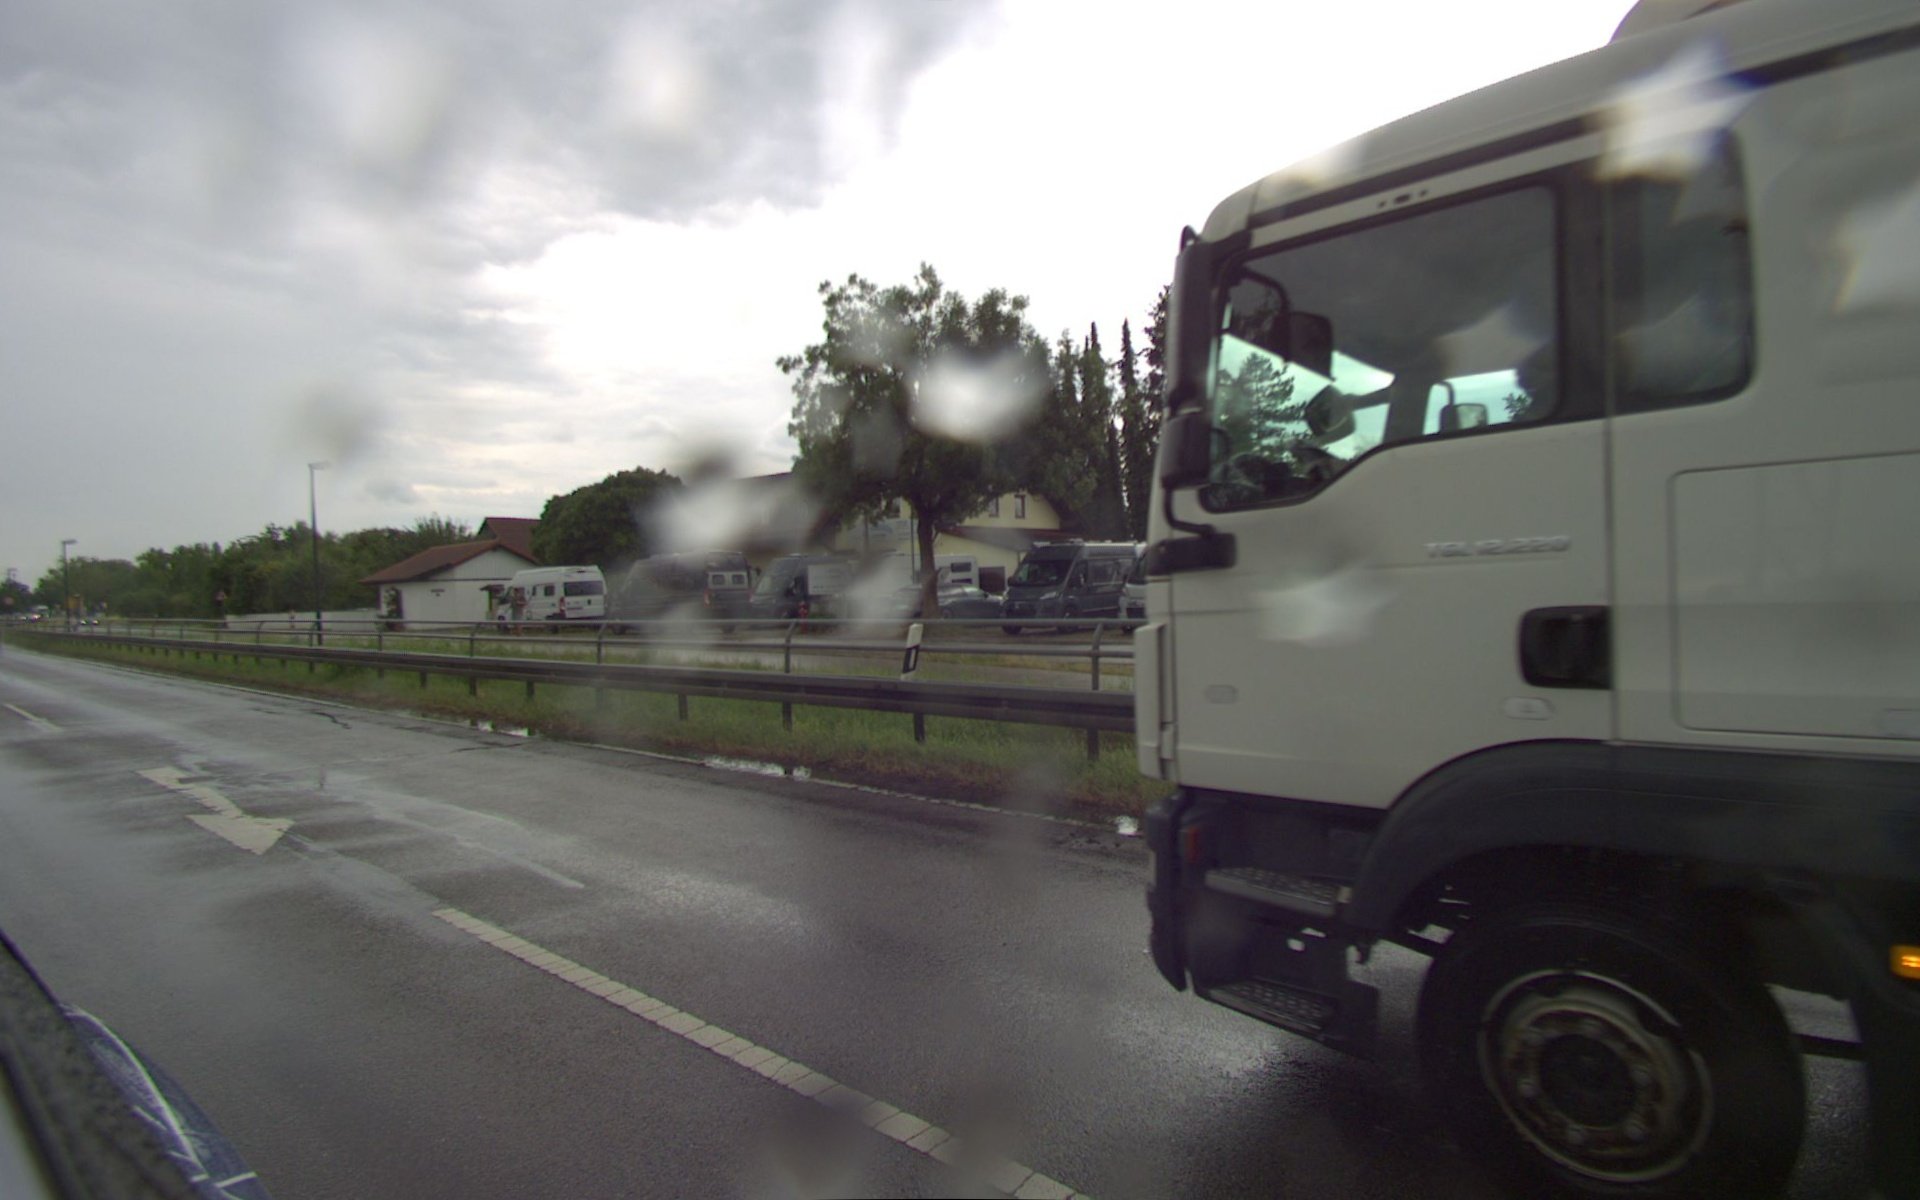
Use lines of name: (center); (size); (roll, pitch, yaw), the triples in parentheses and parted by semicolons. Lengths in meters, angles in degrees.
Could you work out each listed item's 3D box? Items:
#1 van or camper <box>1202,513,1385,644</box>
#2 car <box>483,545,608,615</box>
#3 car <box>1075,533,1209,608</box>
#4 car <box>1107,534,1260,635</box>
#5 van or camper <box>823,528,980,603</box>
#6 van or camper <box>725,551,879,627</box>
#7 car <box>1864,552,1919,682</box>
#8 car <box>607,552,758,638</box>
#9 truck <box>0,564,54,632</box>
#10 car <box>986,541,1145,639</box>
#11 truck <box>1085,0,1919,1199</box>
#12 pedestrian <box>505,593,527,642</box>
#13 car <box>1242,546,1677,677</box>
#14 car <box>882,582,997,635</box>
van or camper: (7.983, -0.536, 23.776); (2.079, 2.697, 5.817); (-2, 1, 39)
car: (-16.993, -0.783, 41.355); (6.017, 2.600, 2.214); (-1, 1, 41)
car: (6.886, -1.100, 37.730); (2.090, 2.557, 6.030); (-1, 1, 41)
car: (6.160, -0.450, 27.394); (1.997, 2.477, 5.044); (-2, 1, 38)
van or camper: (-2.146, -1.345, 39.378); (2.559, 2.611, 6.162); (-2, 1, 39)
van or camper: (-6.255, -0.505, 40.897); (2.432, 2.822, 5.994); (-2, 1, 39)
car: (11.563, 0.140, 9.914); (3.891, 1.341, 1.271); (-2, -1, 37)
car: (-9.821, -0.148, 35.540); (5.570, 2.783, 2.358); (-1, 1, 41)
truck: (-75.187, -0.115, 80.672); (7.778, 5.071, 3.216); (-1, 1, 41)
car: (3.098, -0.327, 28.670); (1.997, 2.520, 5.133); (-2, 1, 38)
truck: (4.808, -0.468, 0.610); (9.548, 3.478, 2.550); (-1, -1, 40)
pedestrian: (-15.929, 0.615, 36.301); (0.509, 1.723, 0.651); (-2, 1, -41)
car: (6.592, 0.185, 13.767); (5.112, 1.502, 1.501); (-2, -1, 37)
car: (-0.606, 0.249, 32.692); (1.539, 1.507, 3.844); (-1, 1, 41)
